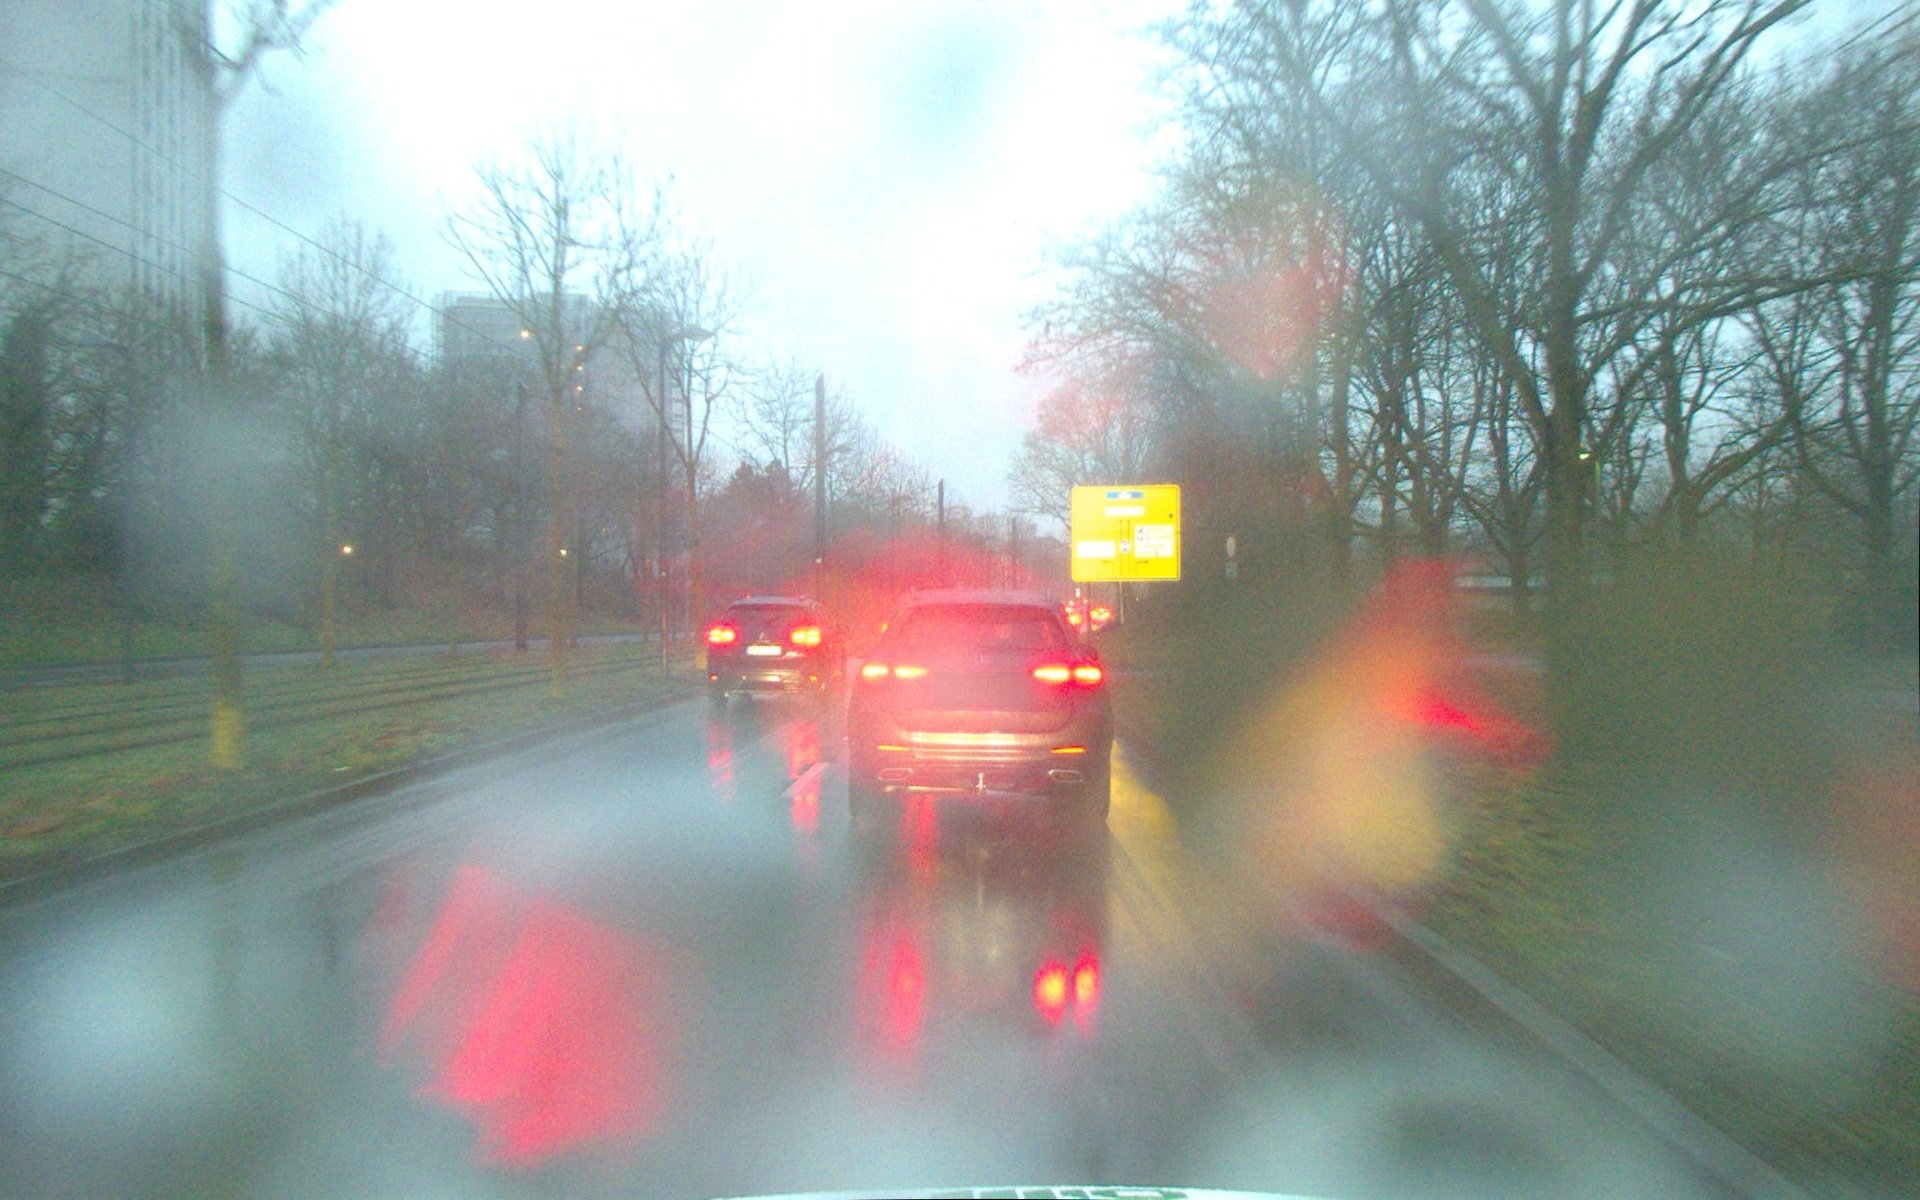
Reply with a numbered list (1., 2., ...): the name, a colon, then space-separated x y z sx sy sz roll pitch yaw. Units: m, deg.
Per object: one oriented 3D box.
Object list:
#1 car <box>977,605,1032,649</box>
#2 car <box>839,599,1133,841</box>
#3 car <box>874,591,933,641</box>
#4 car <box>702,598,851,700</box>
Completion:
1. car: 1.681 0.974 61.175 1.672 1.585 3.999 0 0 7
2. car: 0.075 0.806 13.063 1.958 1.612 3.997 0 0 -3
3. car: -1.850 0.511 55.475 1.841 1.621 4.000 0 0 0
4. car: -2.832 0.726 26.340 1.841 1.485 4.001 0 0 1
